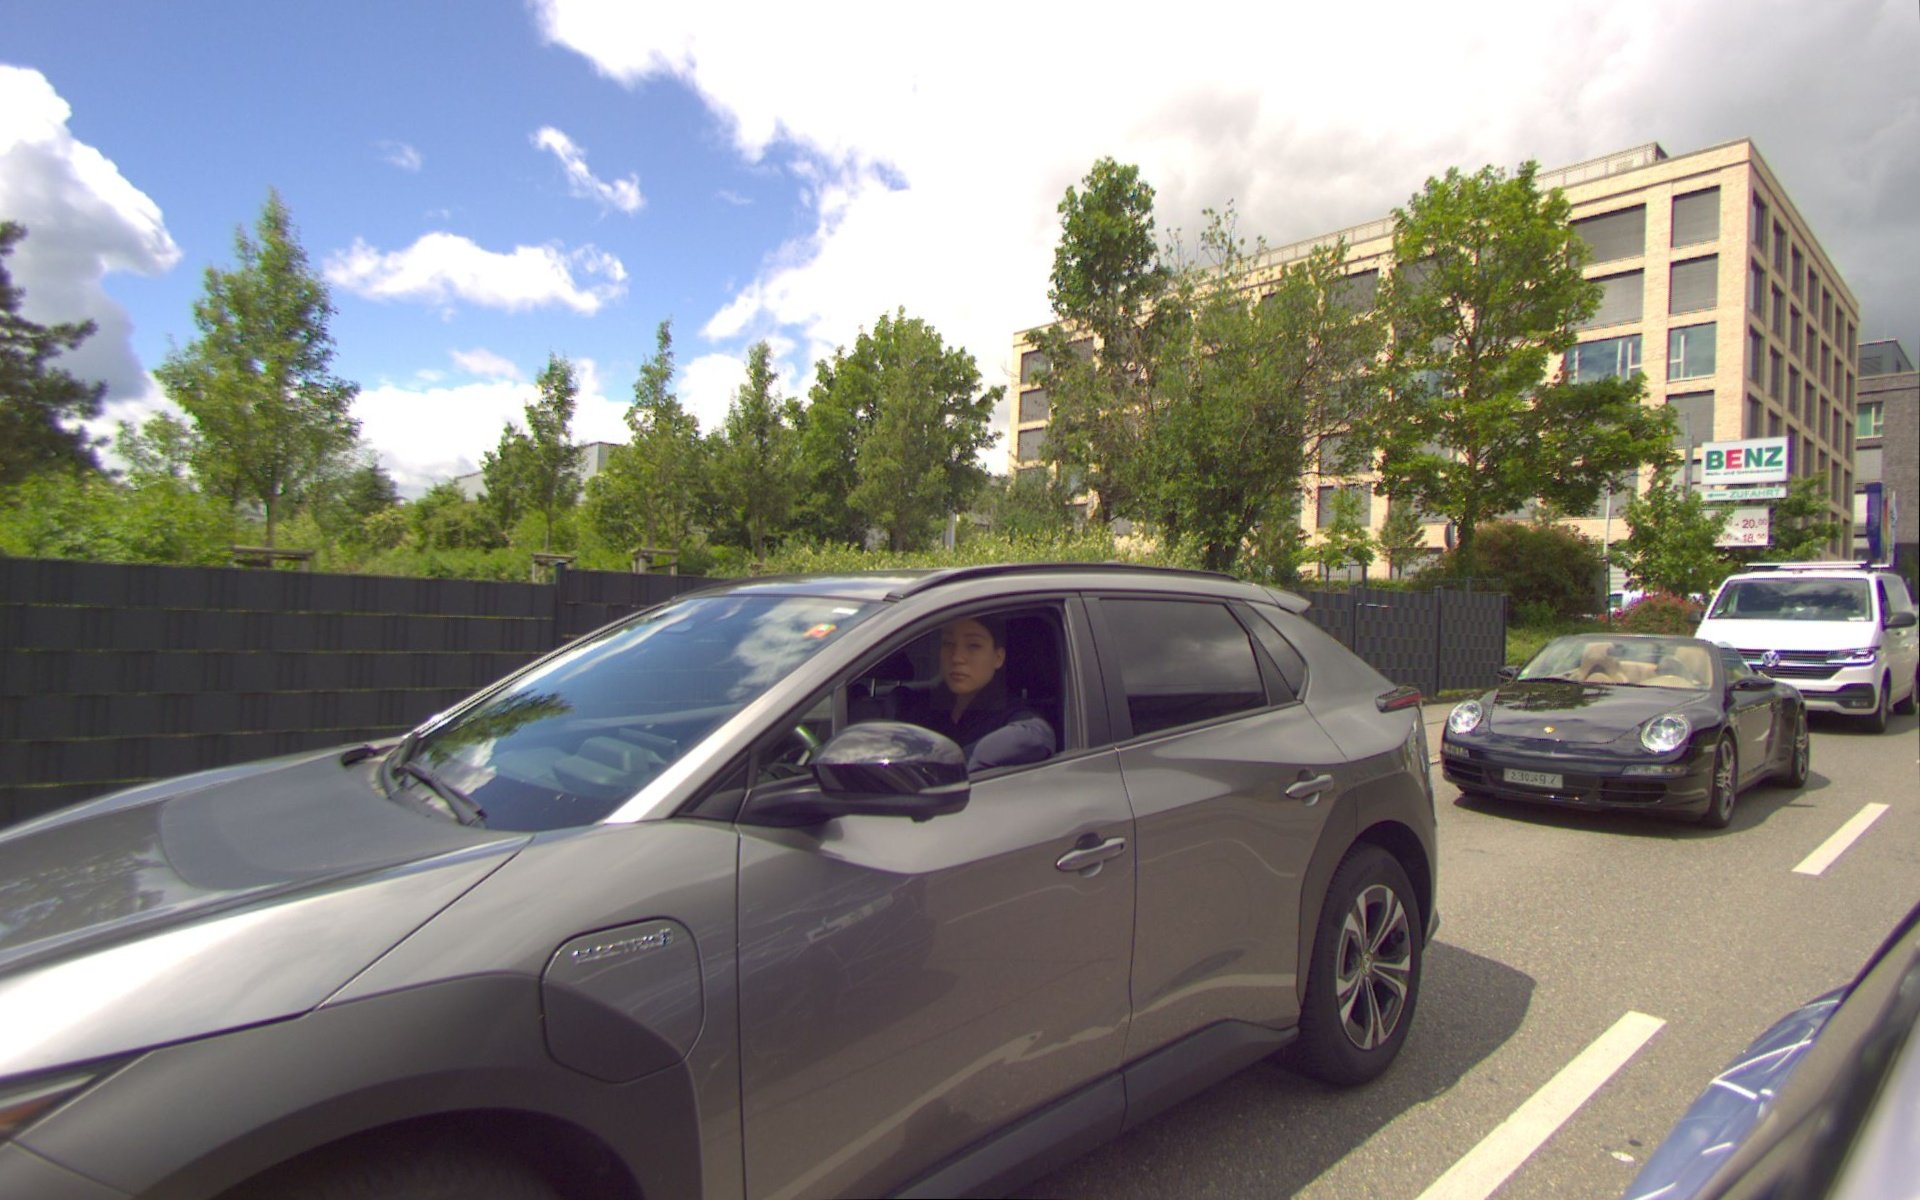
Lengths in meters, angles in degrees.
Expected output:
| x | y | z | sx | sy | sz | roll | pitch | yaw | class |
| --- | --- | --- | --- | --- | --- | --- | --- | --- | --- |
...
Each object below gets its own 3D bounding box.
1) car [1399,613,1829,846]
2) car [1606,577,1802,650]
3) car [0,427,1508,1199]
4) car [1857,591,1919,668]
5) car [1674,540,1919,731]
| x | y | z | sx | sy | sz | roll | pitch | yaw | class |
| --- | --- | --- | --- | --- | --- | --- | --- | --- | --- |
| 5.288 | 0.793 | 7.986 | 3.967 | 1.310 | 1.823 | 0 | 0 | -41 | car |
| 19.899 | 0.298 | 27.190 | 1.793 | 1.754 | 3.991 | 0 | 2 | -44 | car |
| -0.354 | 0.625 | 2.931 | 4.501 | 1.649 | 1.997 | 0 | 1 | -42 | car |
| 20.239 | 0.584 | 21.070 | 3.930 | 1.481 | 1.817 | 0 | 2 | -41 | car |
| 11.336 | 0.377 | 13.348 | 4.677 | 2.075 | 2.087 | 0 | 0 | -41 | car |
